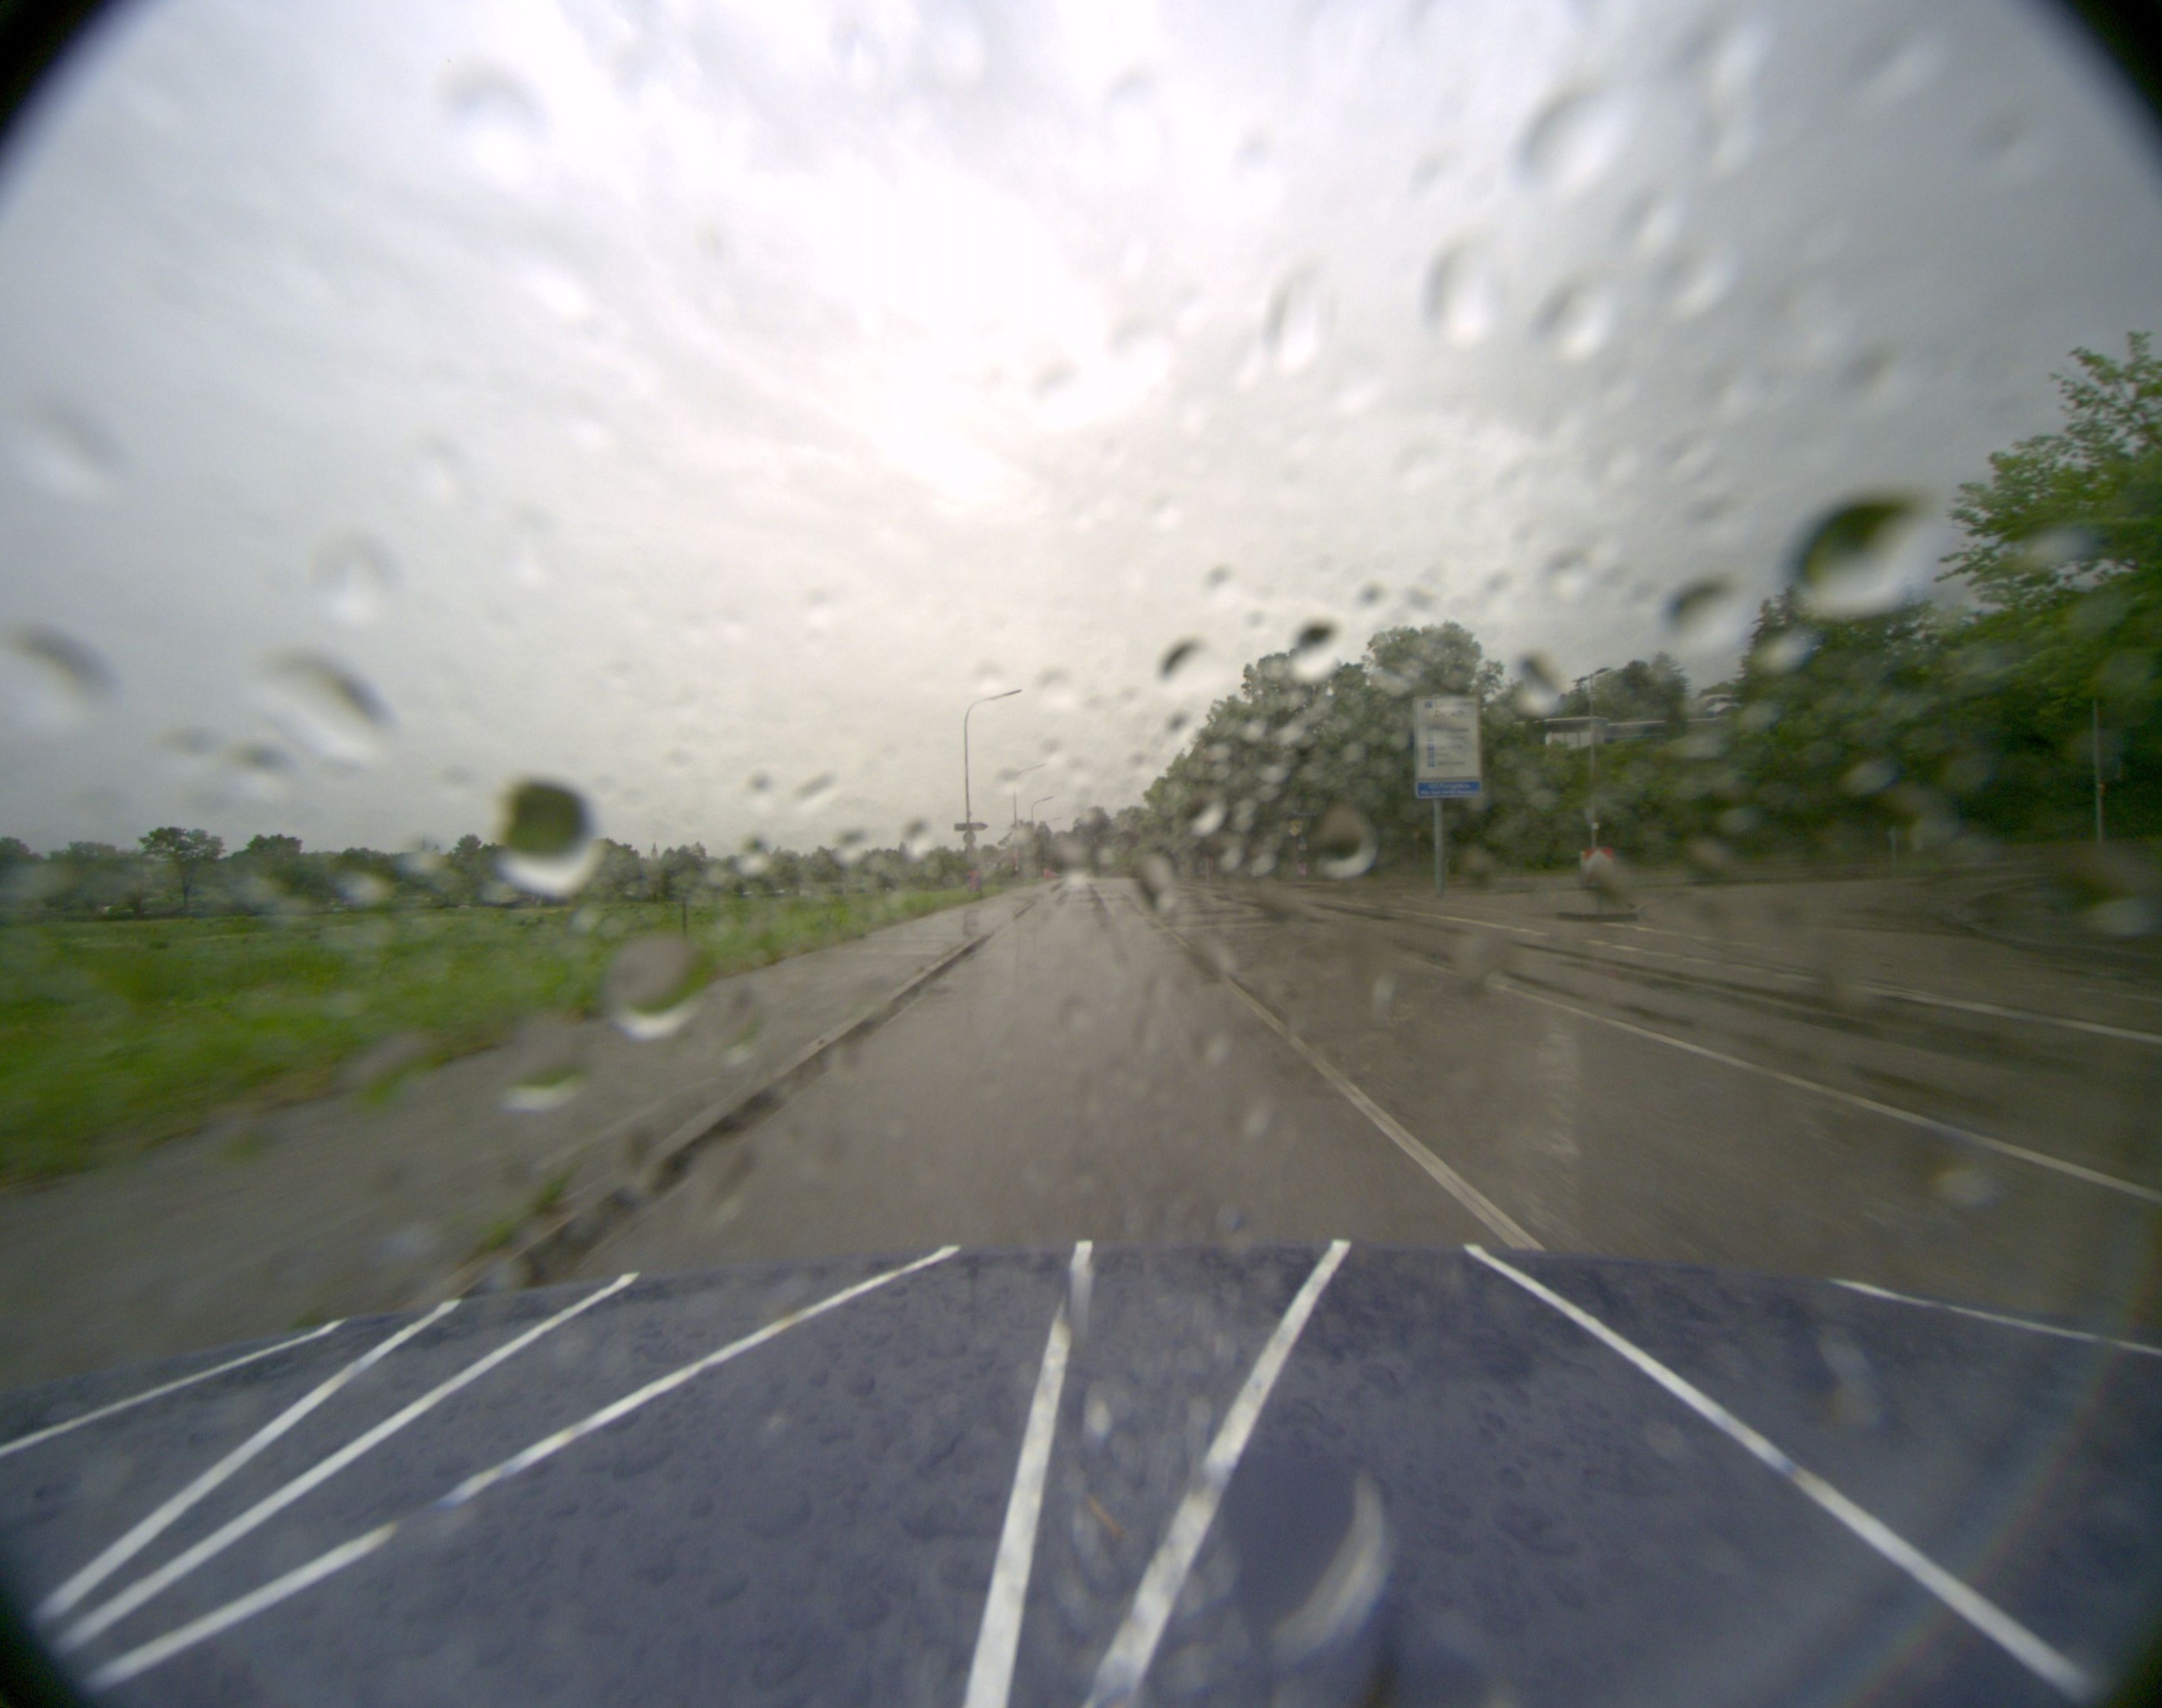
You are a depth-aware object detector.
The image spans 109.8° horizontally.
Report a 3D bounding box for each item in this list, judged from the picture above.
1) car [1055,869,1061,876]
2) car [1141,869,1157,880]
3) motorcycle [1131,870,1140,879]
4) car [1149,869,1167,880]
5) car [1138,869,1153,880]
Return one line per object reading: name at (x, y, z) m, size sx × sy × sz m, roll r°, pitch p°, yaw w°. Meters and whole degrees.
car at (-7.867, 6.284, 257.265) m, size 1.999 × 2.001 × 4.001 m, roll -2°, pitch -2°, yaw -2°
car at (9.565, 2.895, 107.352) m, size 1.437 × 1.410 × 4.102 m, roll -1°, pitch -1°, yaw -6°
motorcycle at (8.496, 3.204, 118.431) m, size 0.840 × 1.333 × 2.498 m, roll -1°, pitch -1°, yaw -7°
car at (10.349, 2.799, 102.190) m, size 1.691 × 1.410 × 4.740 m, roll -1°, pitch -1°, yaw -3°
car at (9.493, 2.963, 111.642) m, size 1.438 × 1.528 × 2.818 m, roll -1°, pitch -1°, yaw -10°
